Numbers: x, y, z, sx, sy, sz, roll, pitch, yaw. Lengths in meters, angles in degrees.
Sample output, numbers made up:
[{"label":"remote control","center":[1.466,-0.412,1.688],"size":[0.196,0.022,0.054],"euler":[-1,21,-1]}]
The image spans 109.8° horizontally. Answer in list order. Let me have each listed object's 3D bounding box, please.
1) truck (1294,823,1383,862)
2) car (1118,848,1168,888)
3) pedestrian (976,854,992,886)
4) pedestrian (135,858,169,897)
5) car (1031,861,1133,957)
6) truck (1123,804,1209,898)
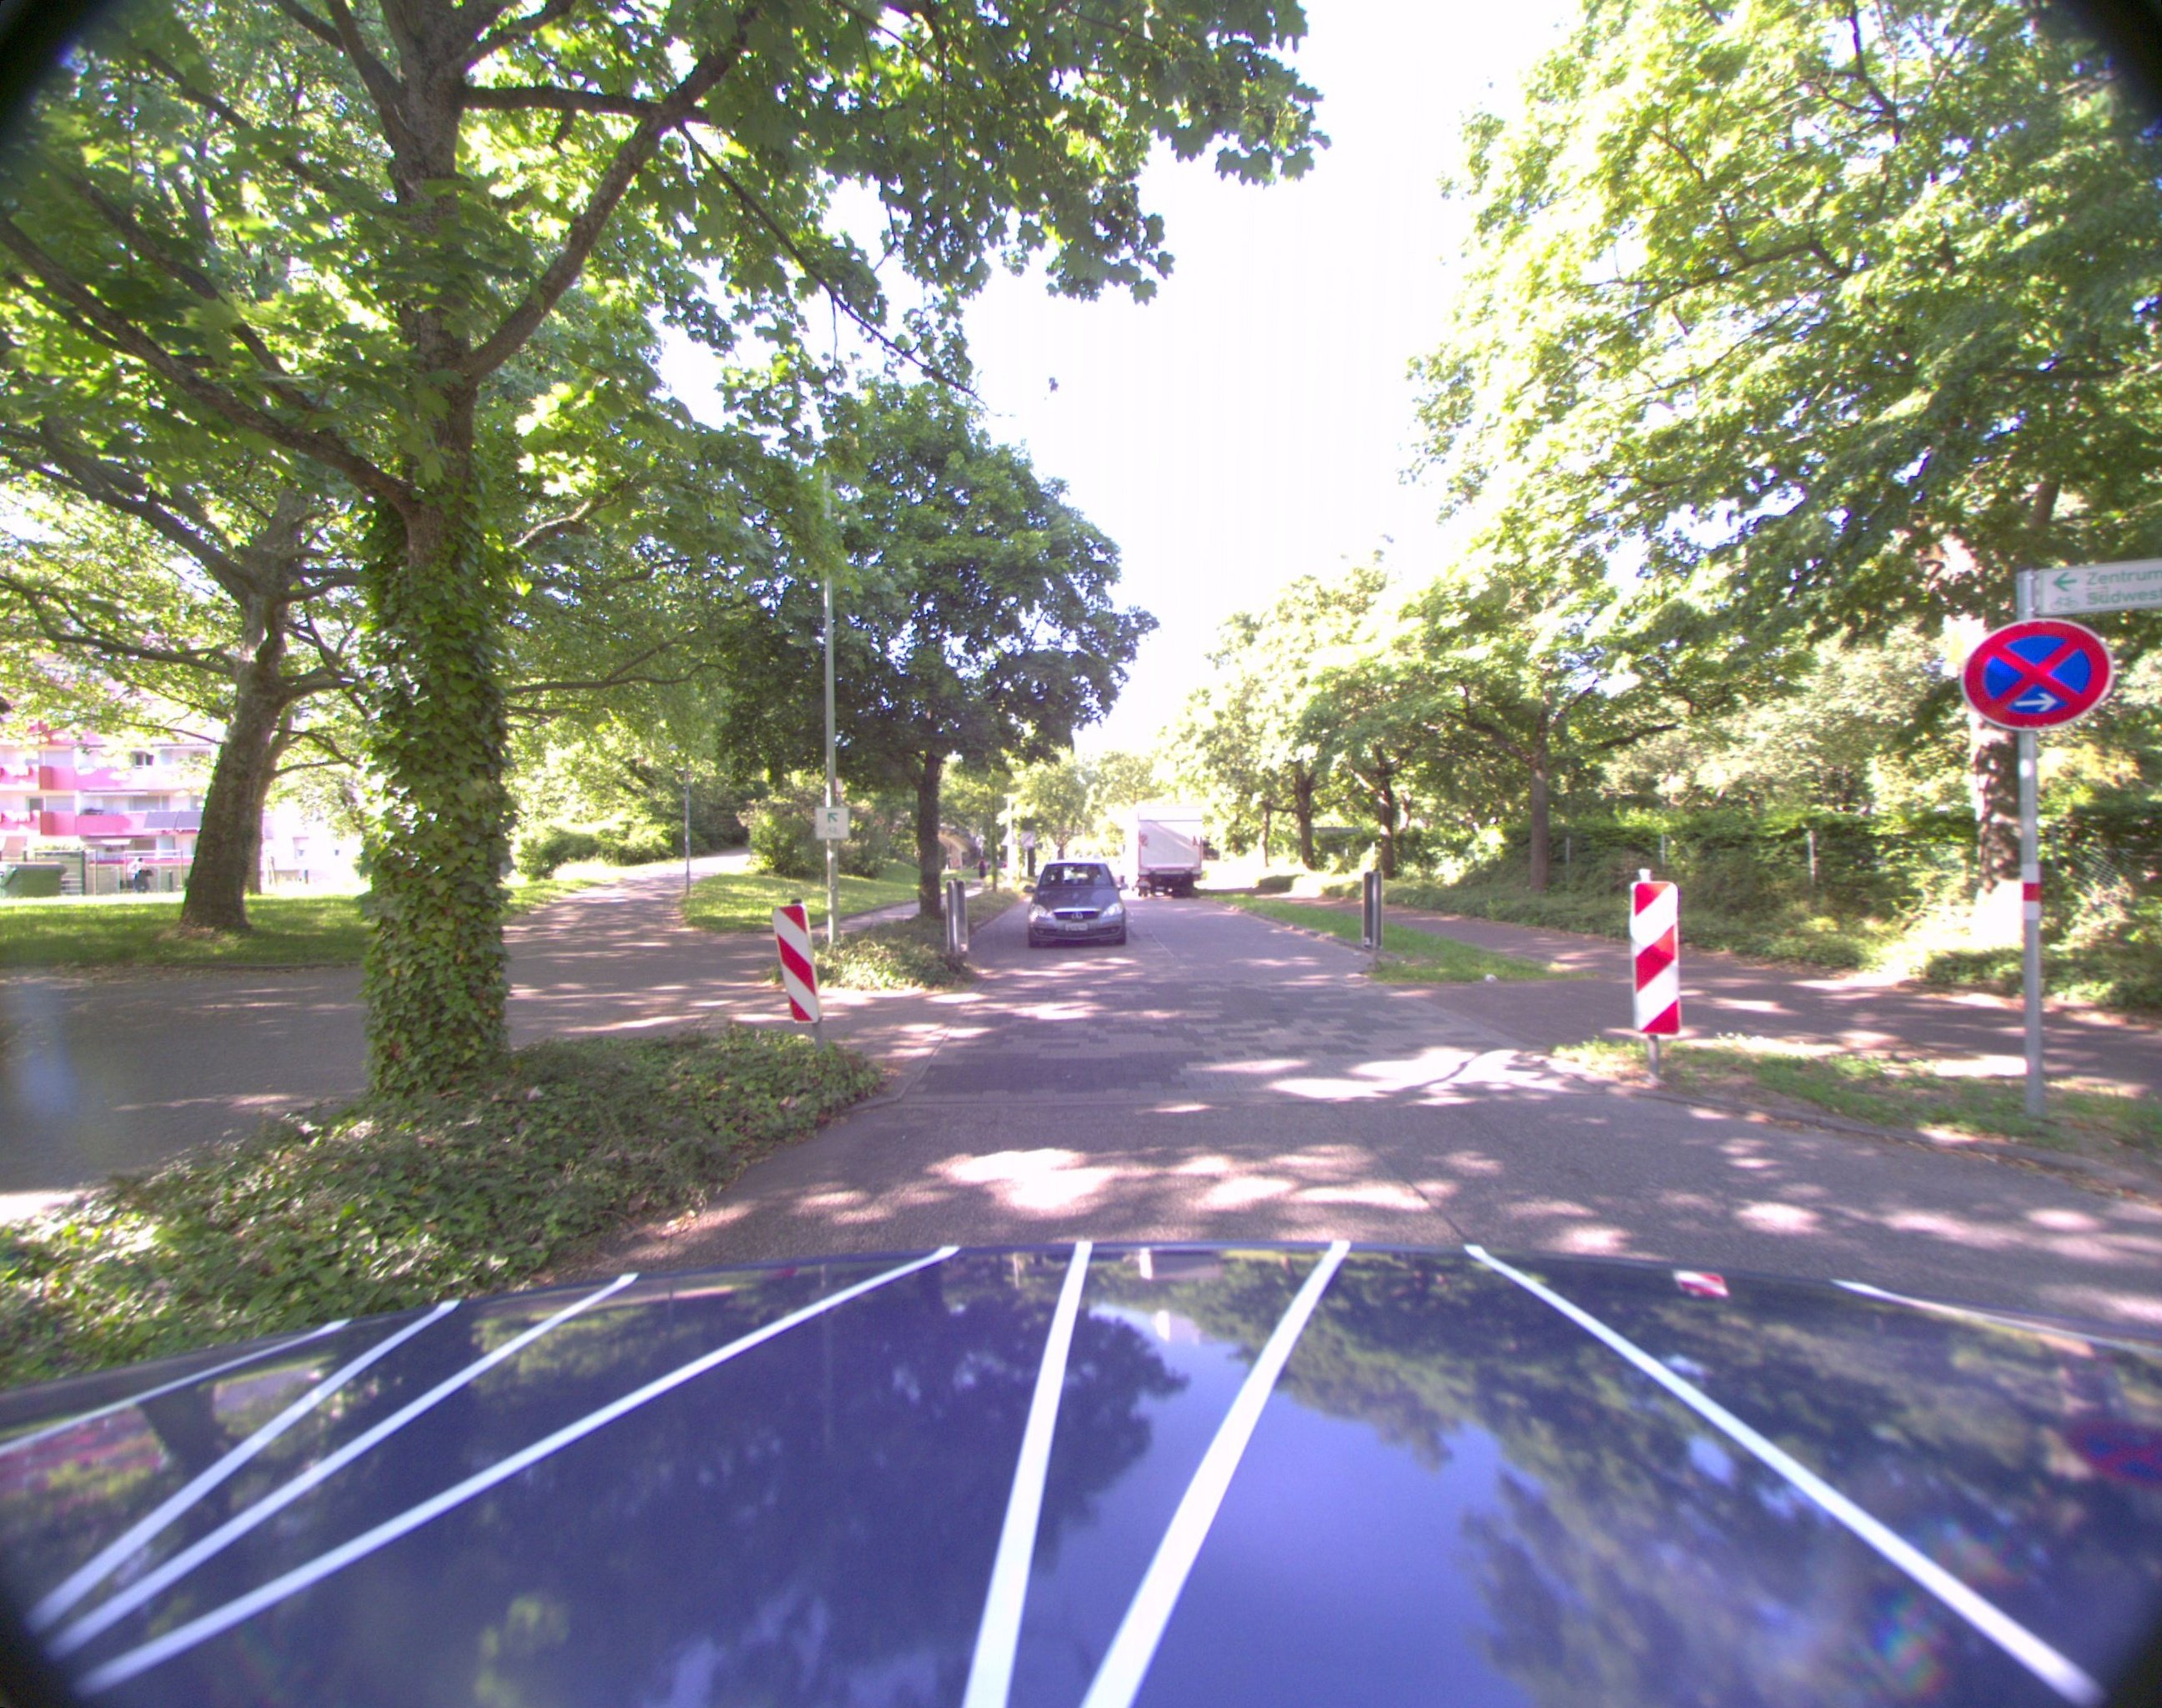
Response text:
[{"label":"truck","center":[13.847,-0.583,41.012],"size":[3.998,2.002,2.203],"euler":[0,0,-2]},{"label":"car","center":[3.440,0.735,43.447],"size":[2.125,2.083,6.583],"euler":[-1,0,-1]},{"label":"pedestrian","center":[-5.589,0.907,43.797],"size":[0.793,1.821,0.671],"euler":[-1,1,0]},{"label":"pedestrian","center":[-38.888,0.982,31.803],"size":[0.627,1.579,0.679],"euler":[-3,1,-30]},{"label":"car","center":[-0.067,0.962,15.122],"size":[1.734,1.578,3.999],"euler":[-1,0,-3]},{"label":"truck","center":[3.524,-0.109,33.609],"size":[2.741,3.620,8.100],"euler":[-1,0,-1]}]
